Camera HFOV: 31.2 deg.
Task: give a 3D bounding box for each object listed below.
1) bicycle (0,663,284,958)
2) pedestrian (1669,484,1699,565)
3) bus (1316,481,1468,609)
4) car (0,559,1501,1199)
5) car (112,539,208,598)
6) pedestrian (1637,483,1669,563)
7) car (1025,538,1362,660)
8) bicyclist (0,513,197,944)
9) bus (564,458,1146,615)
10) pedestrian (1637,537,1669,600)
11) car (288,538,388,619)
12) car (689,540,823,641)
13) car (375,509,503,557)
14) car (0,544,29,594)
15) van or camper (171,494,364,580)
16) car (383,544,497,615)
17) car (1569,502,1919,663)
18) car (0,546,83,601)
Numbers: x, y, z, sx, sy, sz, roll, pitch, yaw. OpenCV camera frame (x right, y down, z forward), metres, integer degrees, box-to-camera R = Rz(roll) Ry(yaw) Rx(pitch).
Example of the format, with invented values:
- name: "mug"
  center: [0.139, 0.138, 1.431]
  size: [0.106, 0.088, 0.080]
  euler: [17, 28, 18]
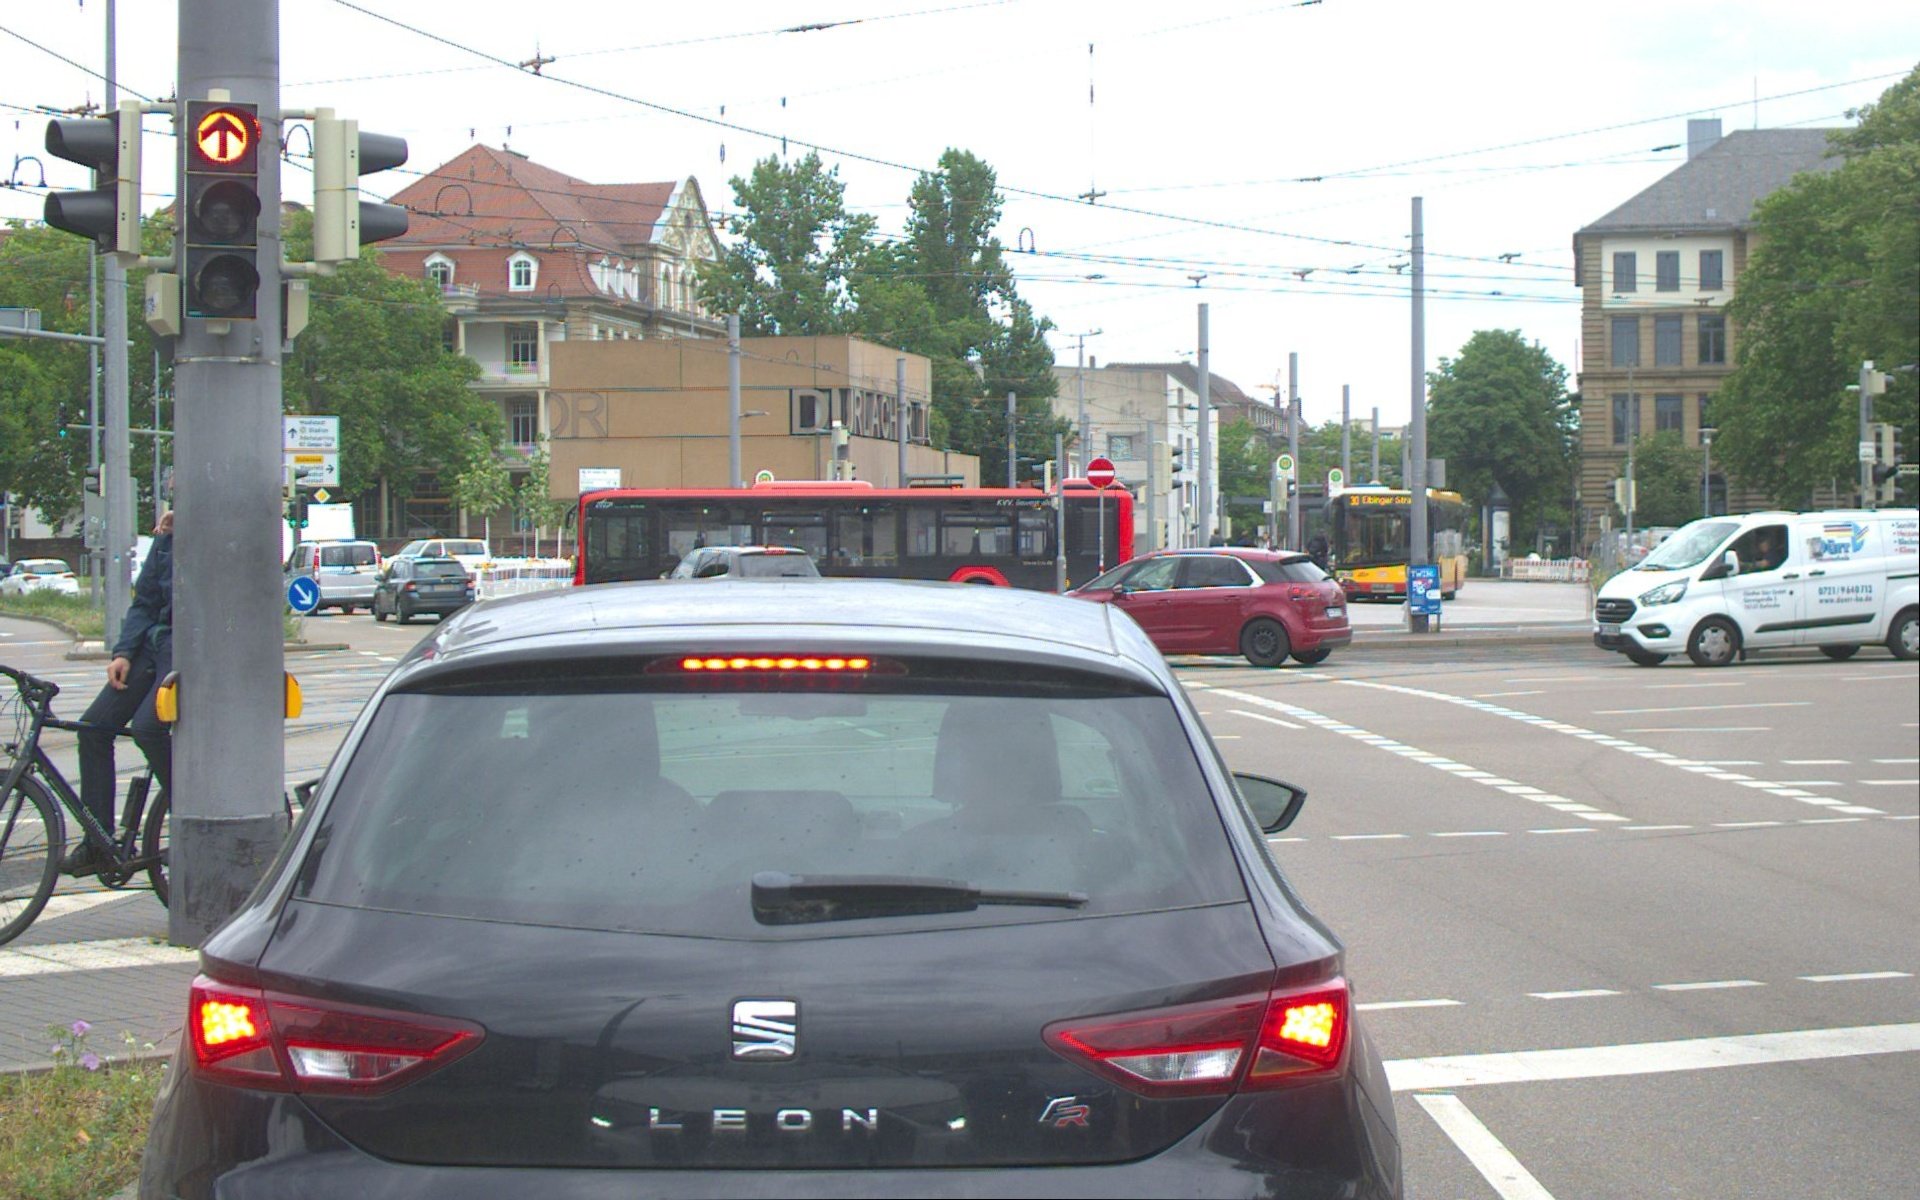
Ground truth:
- name: "bicycle"
  center: [-3.492, 0.807, 13.398]
  size: [1.609, 1.066, 0.528]
  euler: [-1, 1, -40]
- name: "pedestrian"
  center: [38.439, -4.001, 182.585]
  size: [1.307, 4.239, 1.347]
  euler: [0, 1, 0]
- name: "bus"
  center: [11.992, -1.522, 94.273]
  size: [3.018, 3.256, 13.036]
  euler: [0, 1, 12]
- name: "car"
  center: [-0.276, 0.676, 5.972]
  size: [1.746, 1.459, 4.000]
  euler: [0, 1, -1]
- name: "car"
  center: [-24.576, -0.985, 105.496]
  size: [1.993, 1.744, 4.001]
  euler: [-1, 1, -26]
- name: "pedestrian"
  center: [36.843, -4.074, 182.761]
  size: [1.387, 4.239, 1.347]
  euler: [0, 1, 0]
- name: "car"
  center: [3.182, -0.022, 46.844]
  size: [4.196, 1.595, 1.861]
  euler: [0, 1, 24]
- name: "bicyclist"
  center: [-3.419, 0.481, 13.458]
  size: [0.653, 1.633, 0.517]
  euler: [-1, 1, -40]
- name: "bus"
  center: [-2.245, -1.366, 74.551]
  size: [12.338, 3.286, 3.068]
  euler: [0, 1, 0]
- name: "pedestrian"
  center: [20.493, -0.944, 101.638]
  size: [0.824, 1.847, 1.020]
  euler: [0, 1, 16]
- name: "car"
  center: [-15.832, -0.561, 87.392]
  size: [1.993, 2.007, 4.001]
  euler: [-1, 1, -18]
- name: "car"
  center: [-3.303, -0.185, 56.362]
  size: [1.993, 1.560, 4.205]
  euler: [-1, 1, -1]
- name: "car"
  center: [-21.806, -2.801, 144.008]
  size: [4.991, 1.858, 1.999]
  euler: [-2, -2, -44]
- name: "car"
  center: [-34.882, -1.116, 123.302]
  size: [1.993, 1.744, 4.000]
  euler: [-1, 1, -29]
- name: "van or camper"
  center: [-27.811, -2.548, 138.304]
  size: [7.134, 3.321, 2.875]
  euler: [-2, 0, -45]
- name: "car"
  center: [-11.649, -0.473, 76.804]
  size: [1.993, 1.534, 4.001]
  euler: [-1, 1, -16]
- name: "car"
  center: [10.717, -0.266, 45.121]
  size: [5.014, 2.012, 2.001]
  euler: [-1, 1, -19]
- name: "car"
  center: [-28.034, -0.816, 104.267]
  size: [1.993, 1.634, 4.001]
  euler: [-1, 1, -26]
